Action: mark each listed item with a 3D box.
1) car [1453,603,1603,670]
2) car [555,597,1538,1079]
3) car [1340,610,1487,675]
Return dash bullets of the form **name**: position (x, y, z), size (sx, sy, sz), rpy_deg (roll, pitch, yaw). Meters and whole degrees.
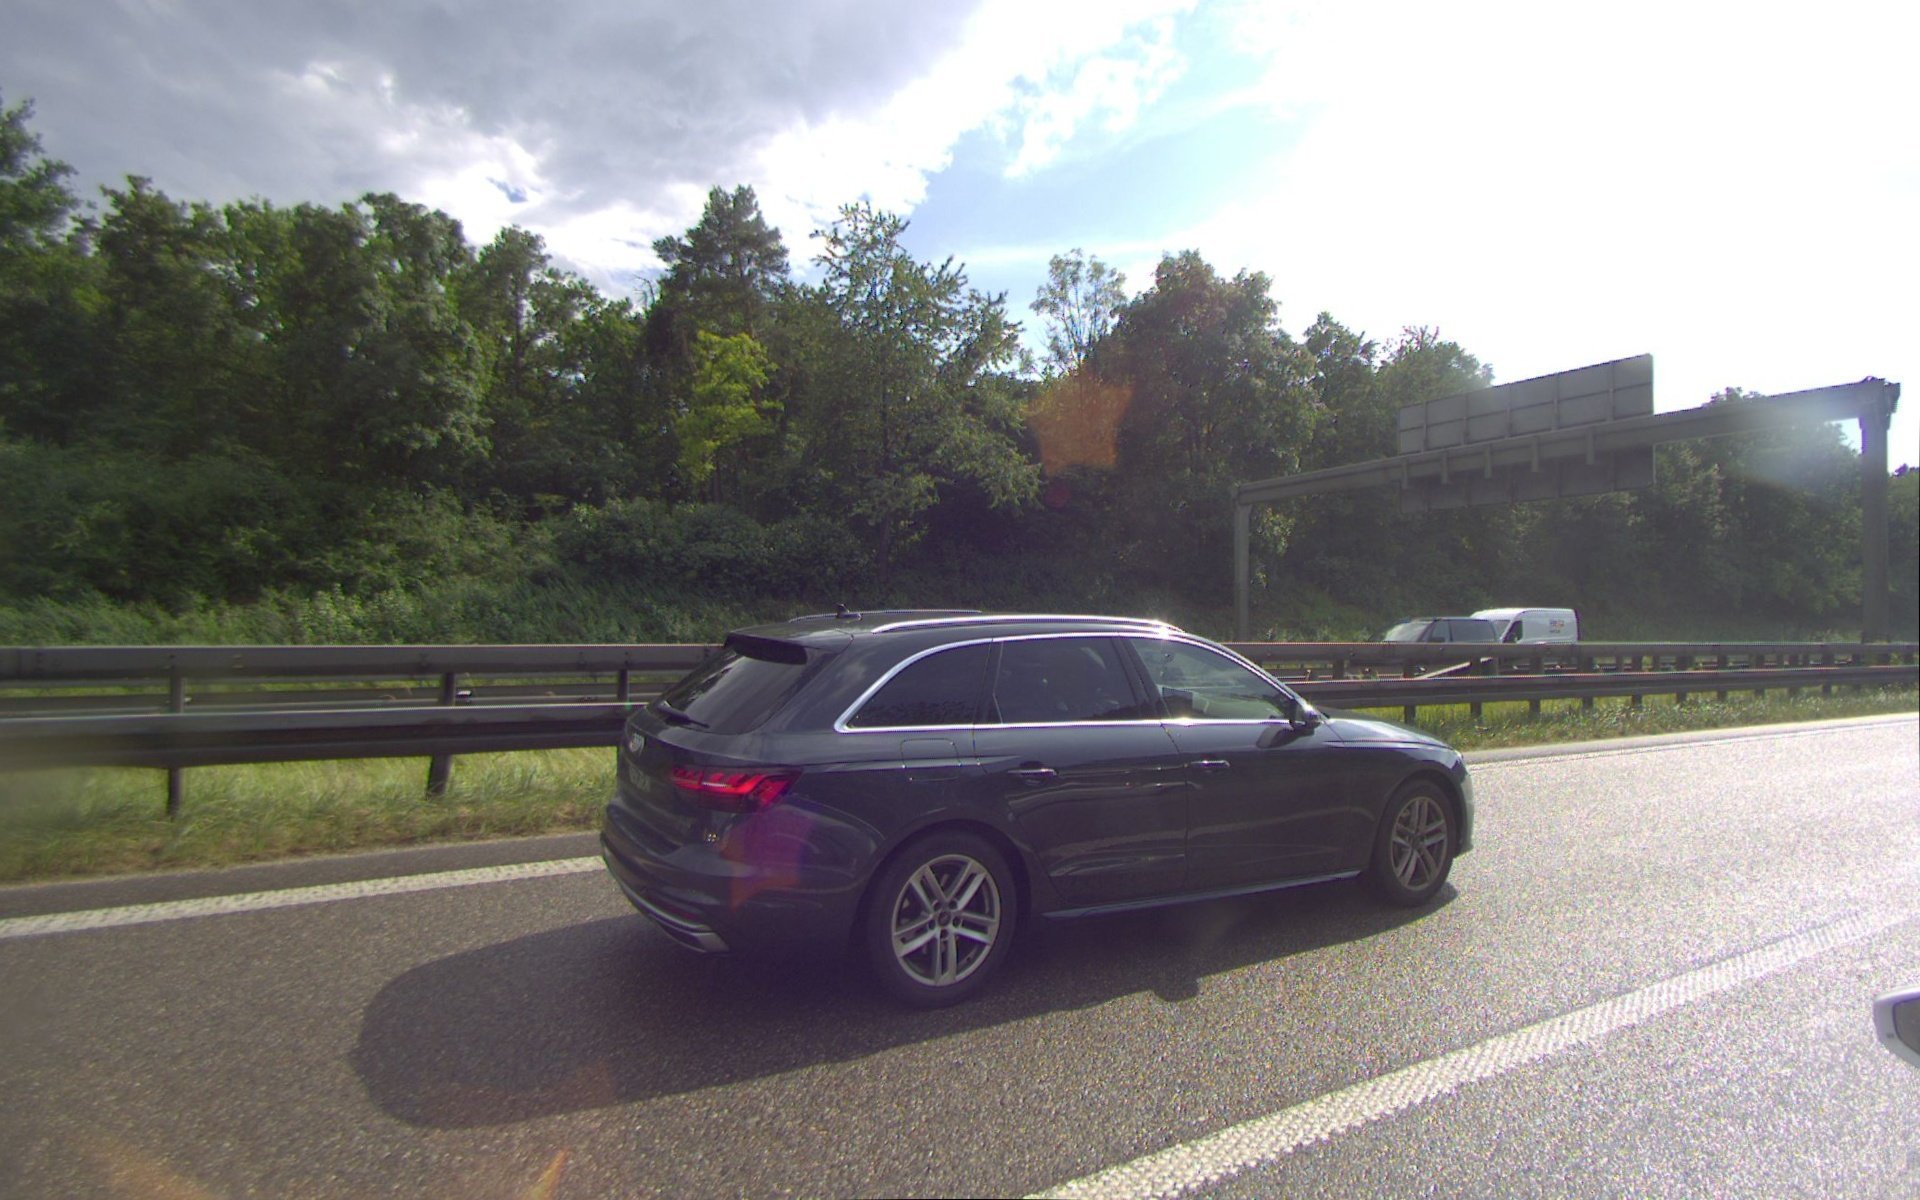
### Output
- **car**: position (21.036, 1.327, 37.122), size (5.909, 2.279, 2.134), rpy_deg (2, 0, -30)
- **car**: position (0.661, 0.774, 5.042), size (4.784, 1.437, 1.785), rpy_deg (2, 0, -31)
- **car**: position (12.603, 1.167, 27.857), size (3.953, 1.656, 1.739), rpy_deg (2, 0, -30)
